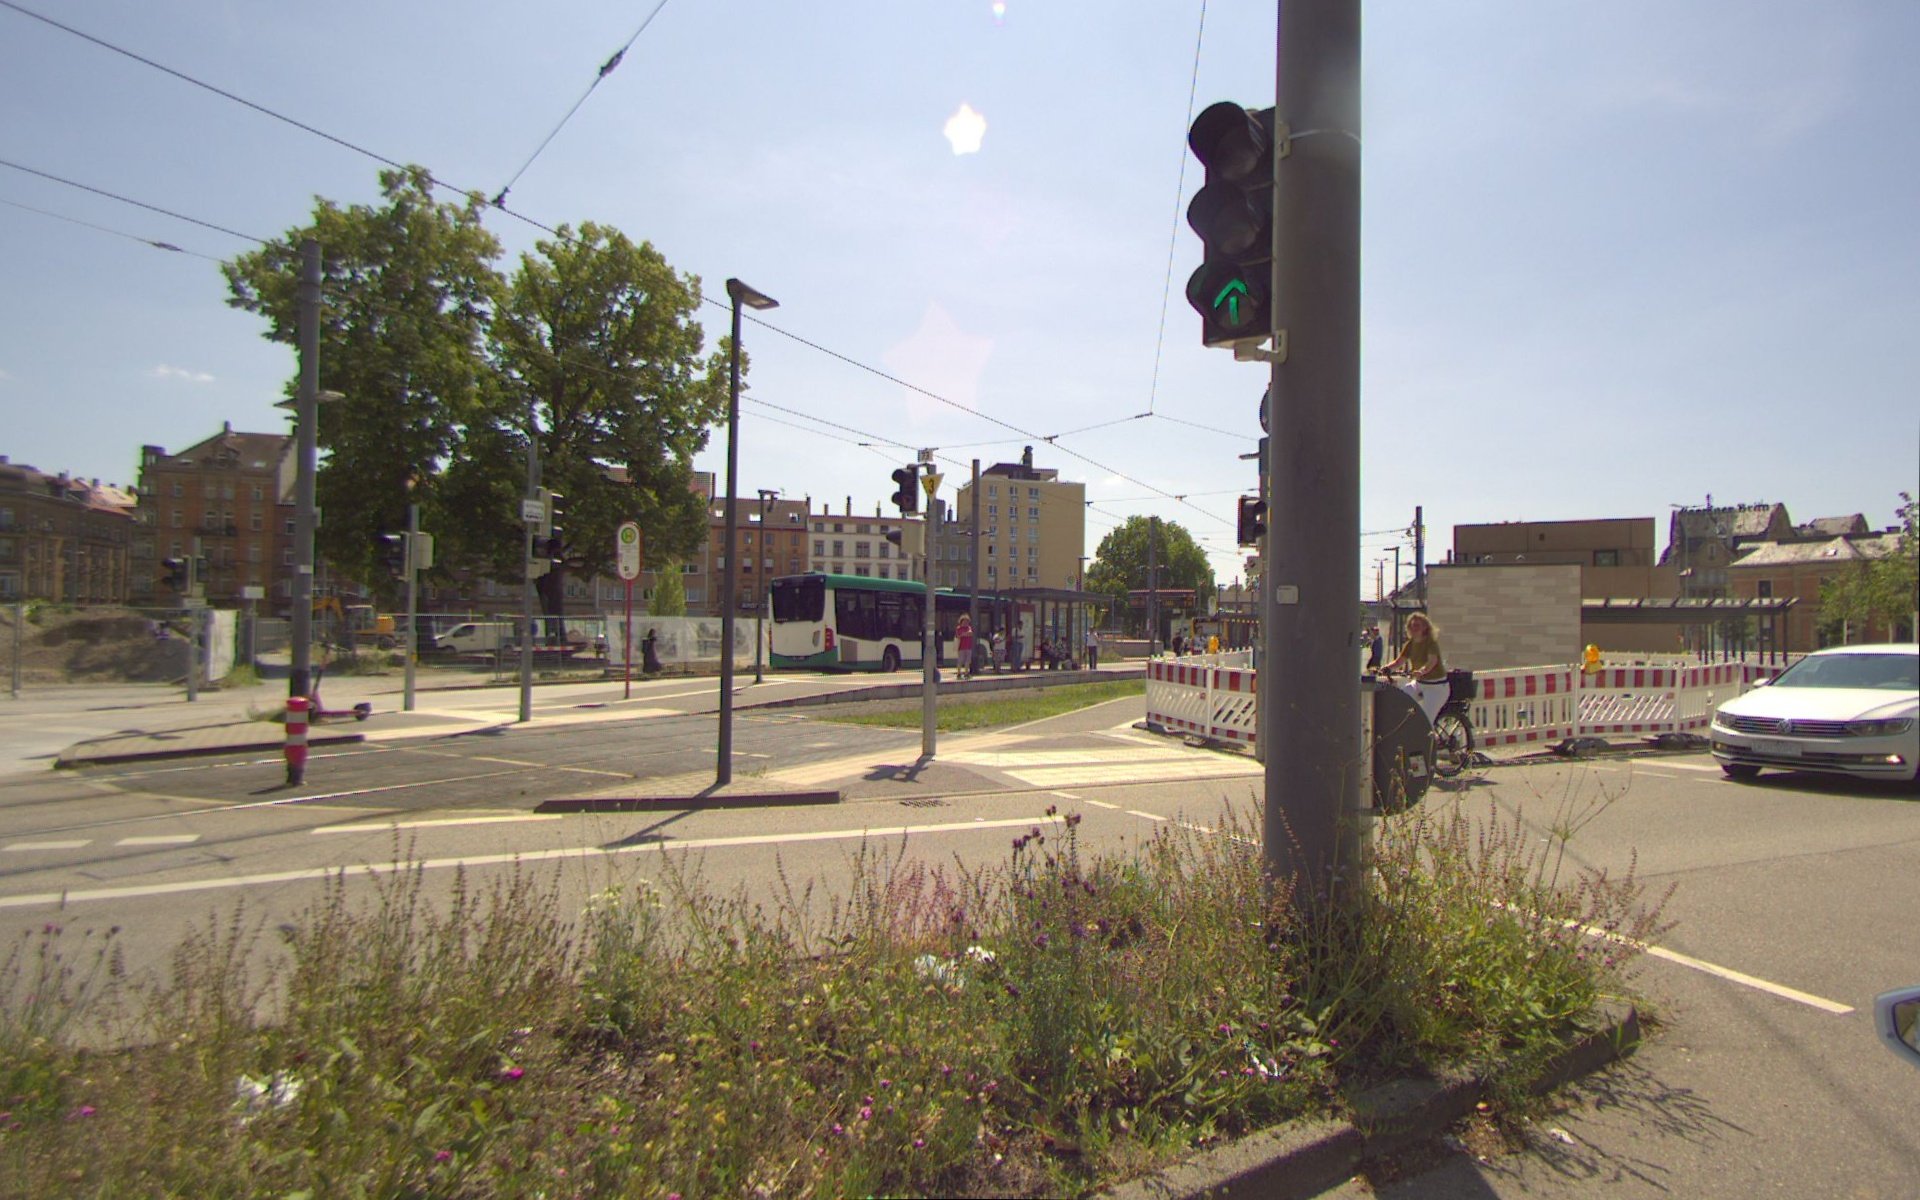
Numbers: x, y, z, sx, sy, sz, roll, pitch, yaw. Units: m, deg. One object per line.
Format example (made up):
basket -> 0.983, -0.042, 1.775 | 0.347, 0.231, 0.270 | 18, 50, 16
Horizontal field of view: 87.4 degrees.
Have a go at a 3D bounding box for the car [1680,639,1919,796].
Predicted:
car -> 10.224, 1.190, 11.151 | 4.370, 1.447, 1.810 | 1, -4, -27

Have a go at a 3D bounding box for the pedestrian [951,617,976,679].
pedestrian -> 0.110, 1.360, 28.537 | 0.569, 1.724, 0.566 | 2, 0, 11

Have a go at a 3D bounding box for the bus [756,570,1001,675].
bus -> -2.377, 0.743, 34.985 | 2.805, 3.094, 10.580 | 2, 0, 31

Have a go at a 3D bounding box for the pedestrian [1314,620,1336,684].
pedestrian -> 10.466, 1.487, 28.817 | 0.530, 1.779, 0.659 | 2, 0, 21

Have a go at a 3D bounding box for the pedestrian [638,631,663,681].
pedestrian -> -9.835, 1.773, 31.918 | 0.540, 1.562, 0.481 | 2, 0, 11

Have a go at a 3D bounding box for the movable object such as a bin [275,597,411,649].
movable object such as a bin -> -42.896, 1.615, 69.938 | 7.898, 3.434, 2.880 | 2, 0, -36

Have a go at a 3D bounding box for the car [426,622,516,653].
car -> -27.458, 2.087, 56.464 | 4.209, 1.623, 1.762 | 2, 0, -39

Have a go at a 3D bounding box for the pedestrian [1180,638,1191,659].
pedestrian -> 15.273, 3.301, 68.024 | 0.552, 1.416, 0.440 | 2, 0, -32

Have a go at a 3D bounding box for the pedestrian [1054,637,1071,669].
pedestrian -> 3.810, 1.970, 37.362 | 0.505, 1.137, 0.429 | 2, 0, 26

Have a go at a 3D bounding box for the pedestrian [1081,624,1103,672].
pedestrian -> 5.410, 1.955, 41.112 | 0.686, 1.882, 0.605 | 2, 0, 26

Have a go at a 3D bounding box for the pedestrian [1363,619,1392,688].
pedestrian -> 12.096, 1.538, 29.090 | 0.680, 1.931, 0.576 | 2, 0, 29

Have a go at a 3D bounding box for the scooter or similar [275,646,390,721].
scooter or similar -> -9.385, 1.237, 15.064 | 1.431, 1.075, 0.337 | 2, 0, -31

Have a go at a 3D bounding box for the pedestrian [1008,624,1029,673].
pedestrian -> 2.001, 1.655, 34.265 | 0.527, 1.642, 0.520 | 2, 0, 26

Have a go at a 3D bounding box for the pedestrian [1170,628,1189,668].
pedestrian -> 10.515, 2.292, 48.149 | 0.637, 1.883, 0.616 | 2, -1, -32

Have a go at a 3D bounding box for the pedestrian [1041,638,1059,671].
pedestrian -> 3.278, 1.971, 36.509 | 0.505, 1.137, 0.429 | 2, 0, 26

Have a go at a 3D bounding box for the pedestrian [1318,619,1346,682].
pedestrian -> 10.931, 1.482, 29.547 | 0.634, 1.812, 0.636 | 2, 0, 30

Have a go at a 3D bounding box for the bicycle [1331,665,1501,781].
bicycle -> 4.977, 1.298, 10.936 | 1.985, 1.165, 0.585 | 2, -4, -28

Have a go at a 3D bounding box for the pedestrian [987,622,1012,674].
pedestrian -> 1.289, 1.575, 33.158 | 0.615, 1.677, 0.546 | 2, 0, 26

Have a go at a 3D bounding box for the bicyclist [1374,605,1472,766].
bicyclist -> 5.065, 0.925, 11.006 | 0.789, 1.686, 0.583 | 2, -4, -28

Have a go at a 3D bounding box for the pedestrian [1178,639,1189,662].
pedestrian -> 13.508, 3.062, 60.711 | 0.500, 1.384, 0.524 | 2, 0, 28
